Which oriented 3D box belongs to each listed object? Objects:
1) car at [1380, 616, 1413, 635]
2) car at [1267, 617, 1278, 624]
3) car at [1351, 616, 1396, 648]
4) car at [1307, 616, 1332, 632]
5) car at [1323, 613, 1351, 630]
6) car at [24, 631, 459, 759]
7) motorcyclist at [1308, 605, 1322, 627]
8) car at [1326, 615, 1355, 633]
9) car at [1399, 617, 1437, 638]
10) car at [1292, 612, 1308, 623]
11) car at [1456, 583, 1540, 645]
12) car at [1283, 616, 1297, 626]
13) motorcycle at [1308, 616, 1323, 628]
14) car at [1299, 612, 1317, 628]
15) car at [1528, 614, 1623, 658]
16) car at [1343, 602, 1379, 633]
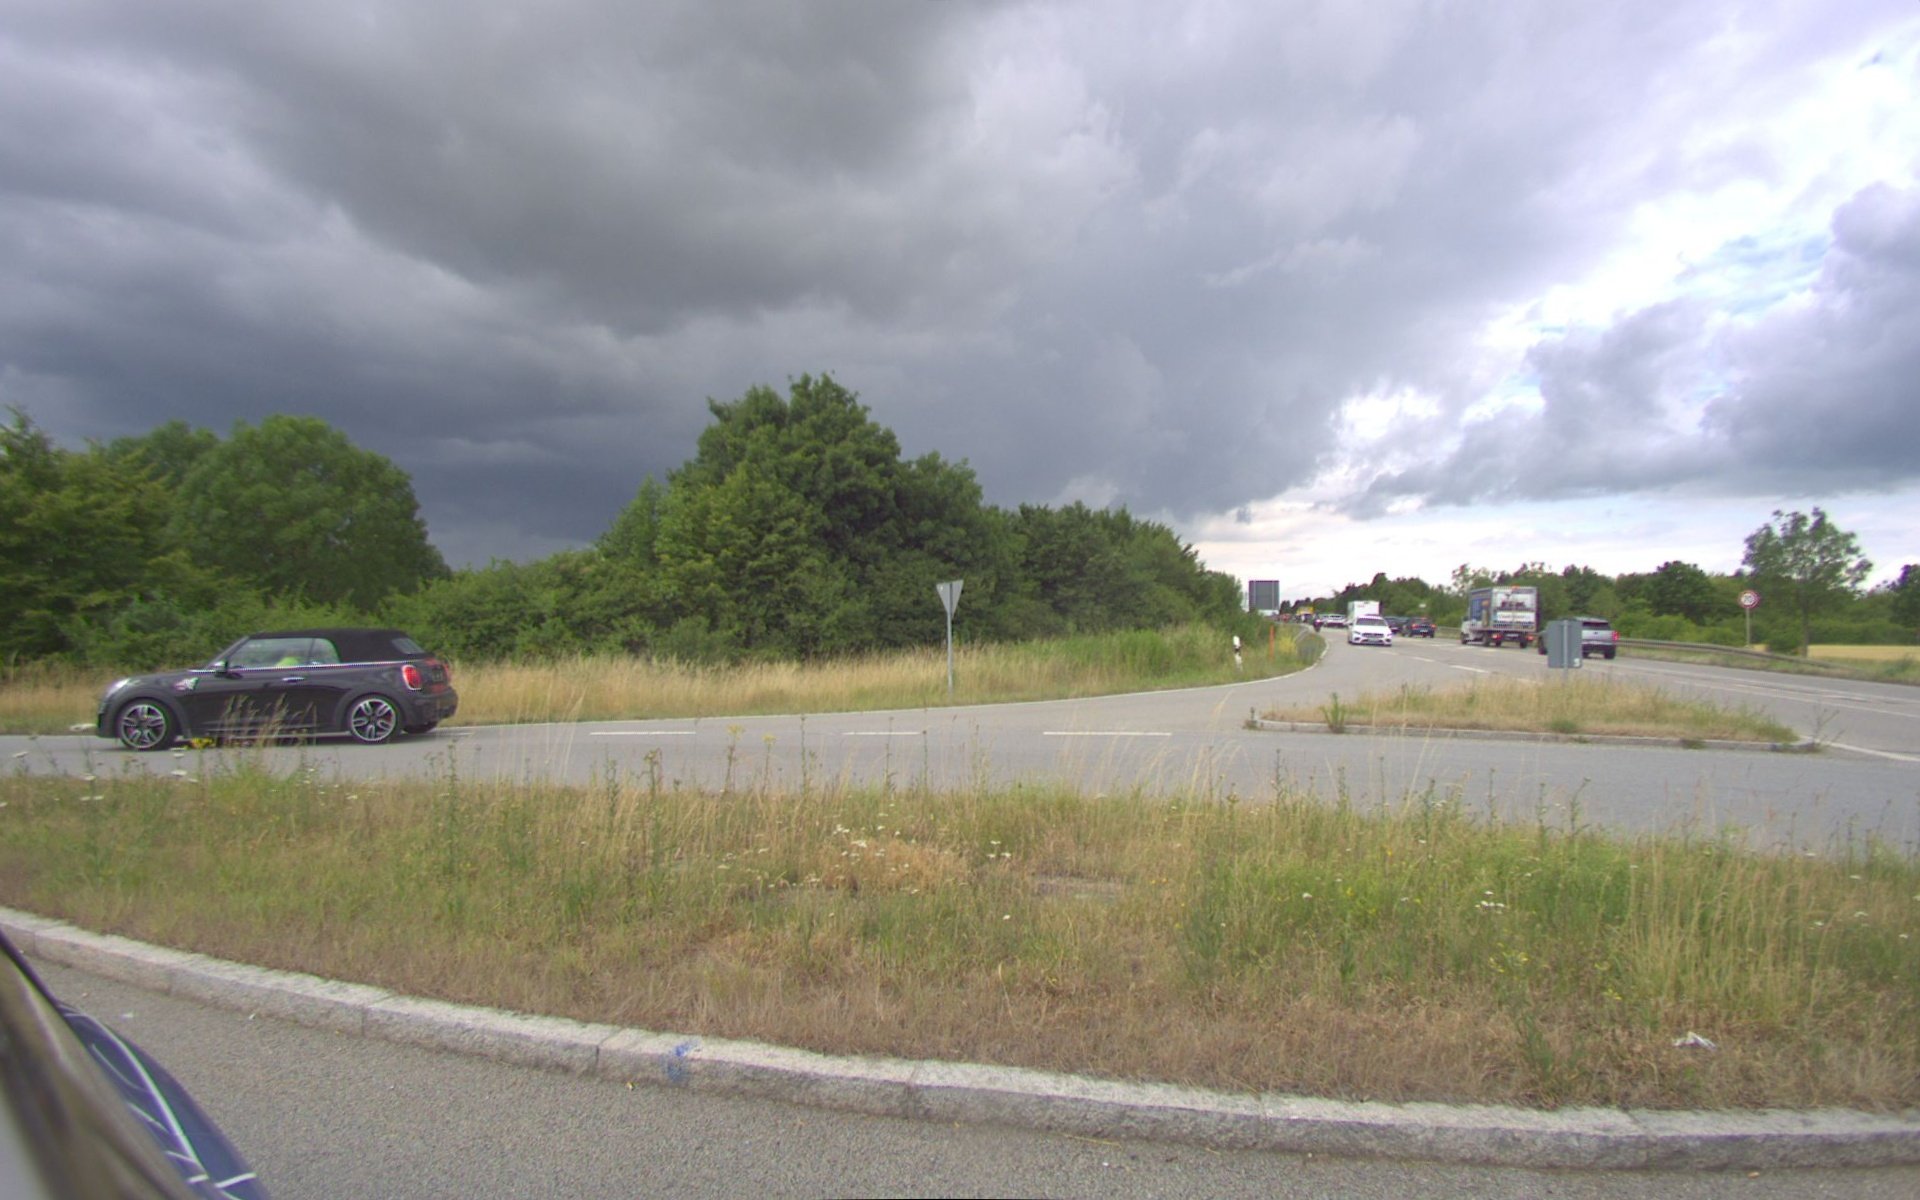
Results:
[{"bbox_3d":[36.918,2.181,85.617,1.830,1.537,3.983,0,-2,13],"label":"car"},{"bbox_3d":[63.593,4.189,206.086,1.779,1.564,3.983,0,-2,13],"label":"car"},{"bbox_3d":[19.984,1.560,49.026,1.758,1.462,4.364,0,-2,19],"label":"car"},{"bbox_3d":[44.252,2.954,124.694,2.318,1.936,4.854,0,-2,13],"label":"car"},{"bbox_3d":[43.543,2.526,117.070,2.317,1.936,4.855,0,-2,13],"label":"car"},{"bbox_3d":[-8.700,1.120,12.632,4.100,1.363,1.678,-1,-2,-11],"label":"car"},{"bbox_3d":[28.974,1.329,82.572,0.935,1.763,1.195,0,-1,13],"label":"motorcyclist"},{"bbox_3d":[41.880,2.654,111.560,2.318,1.936,4.854,0,-2,13],"label":"car"},{"bbox_3d":[34.322,2.087,75.979,1.830,1.537,3.982,0,-2,14],"label":"car"},{"bbox_3d":[50.525,2.665,150.511,1.779,1.564,3.984,0,-2,12],"label":"car"},{"bbox_3d":[28.967,0.785,54.708,2.318,3.052,6.529,2,-1,13],"label":"car"},{"bbox_3d":[54.359,3.430,166.628,1.779,1.564,3.983,0,-2,13],"label":"car"},{"bbox_3d":[28.998,1.789,82.642,0.935,0.896,2.136,0,-1,13],"label":"motorcycle"},{"bbox_3d":[46.717,2.676,135.959,1.779,2.029,3.984,0,-2,12],"label":"car"},{"bbox_3d":[25.130,1.453,41.479,1.980,1.636,4.244,2,-1,12],"label":"car"},{"bbox_3d":[40.225,1.819,101.676,2.317,3.052,6.530,0,-2,13],"label":"car"}]
